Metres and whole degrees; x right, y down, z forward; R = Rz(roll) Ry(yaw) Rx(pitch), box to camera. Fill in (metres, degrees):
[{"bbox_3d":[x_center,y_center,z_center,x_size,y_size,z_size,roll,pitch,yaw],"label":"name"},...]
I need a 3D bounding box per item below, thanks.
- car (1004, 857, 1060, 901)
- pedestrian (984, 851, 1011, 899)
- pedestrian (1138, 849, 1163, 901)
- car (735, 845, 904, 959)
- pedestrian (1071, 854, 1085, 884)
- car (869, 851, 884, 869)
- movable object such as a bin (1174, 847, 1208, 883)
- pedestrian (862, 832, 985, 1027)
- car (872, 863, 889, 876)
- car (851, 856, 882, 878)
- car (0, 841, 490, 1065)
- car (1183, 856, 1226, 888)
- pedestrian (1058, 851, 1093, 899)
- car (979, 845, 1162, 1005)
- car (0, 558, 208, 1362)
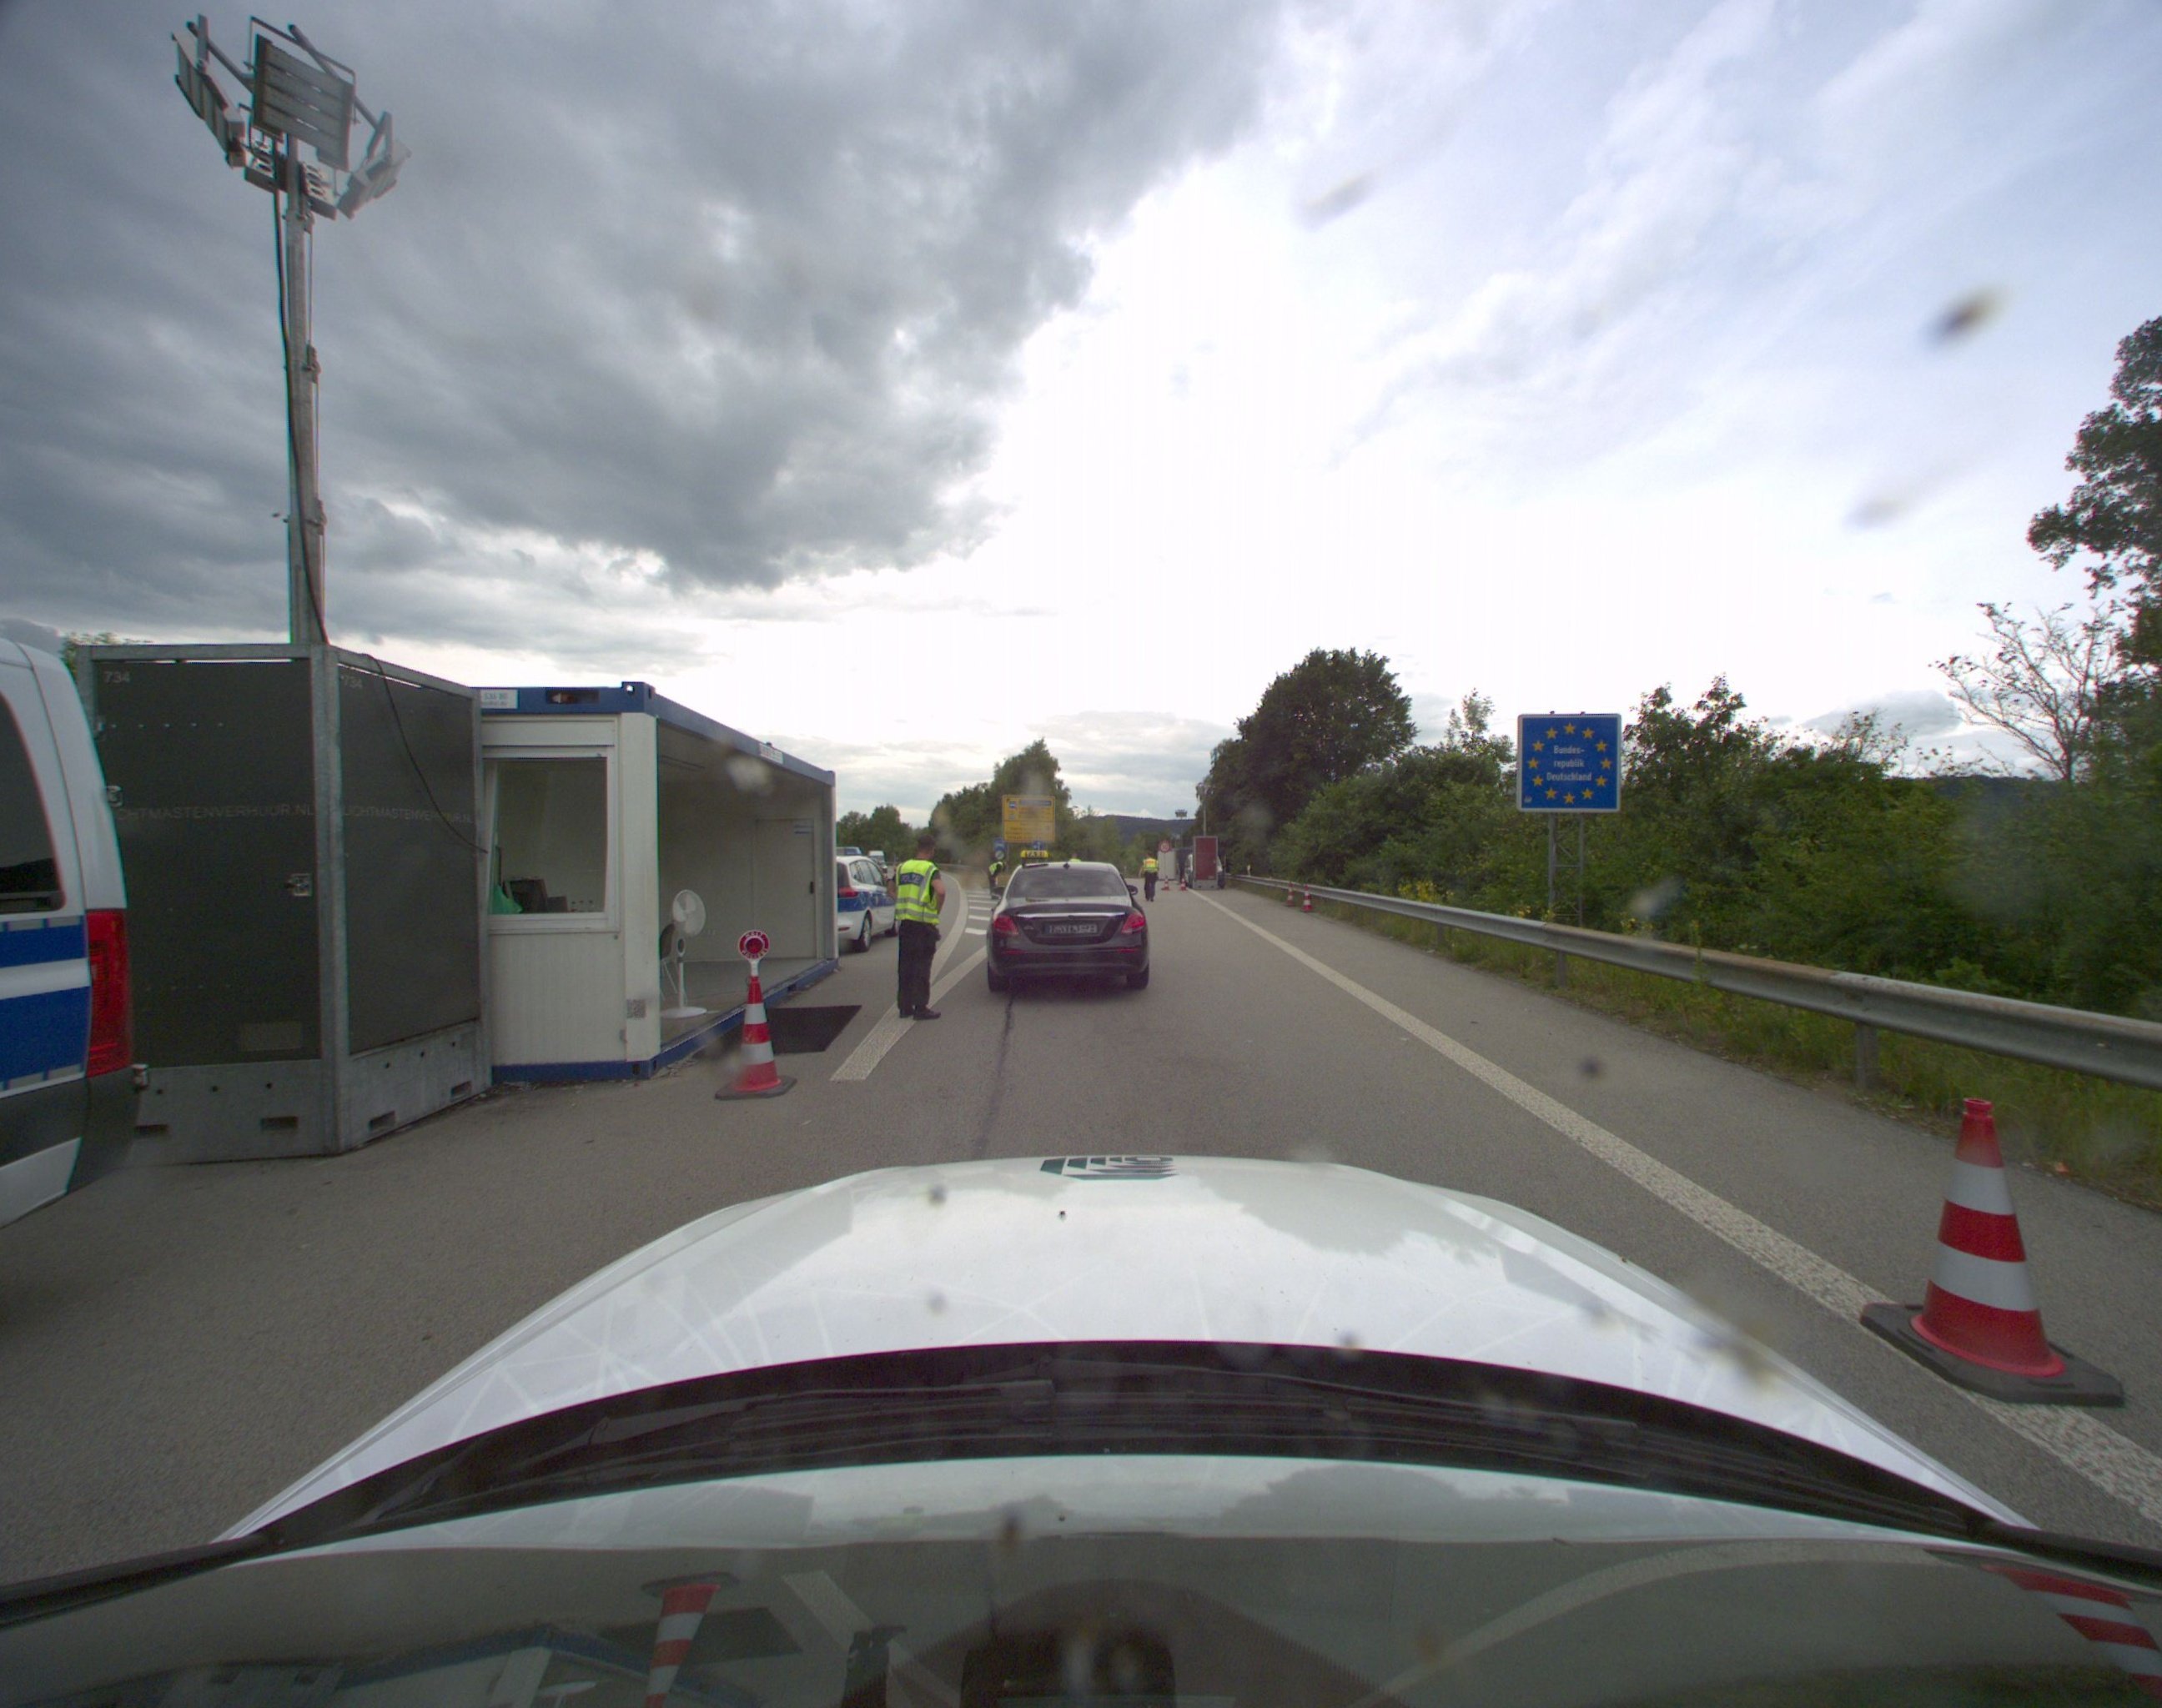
[{"bbox_3d":[-1.765,0.883,30.517,1.850,1.498,4.255,-1,0,-1],"label":"car"},{"bbox_3d":[-3.142,0.764,30.626,0.908,1.769,0.911,-1,-1,-1],"label":"pedestrian"},{"bbox_3d":[2.483,0.732,29.162,0.809,1.830,0.810,-1,-1,1],"label":"pedestrian"},{"bbox_3d":[-4.530,0.759,14.787,1.864,1.743,4.005,-1,0,-2],"label":"car"},{"bbox_3d":[-0.192,0.960,53.852,0.659,1.961,0.763,-1,-1,18],"label":"pedestrian"},{"bbox_3d":[-25.875,0.707,103.157,1.858,2.222,4.236,-1,0,-14],"label":"car"},{"bbox_3d":[7.282,0.693,54.159,1.984,2.280,4.172,-1,0,4],"label":"movable object such as a bin"},{"bbox_3d":[-1.493,0.672,7.744,0.752,1.718,0.823,-2,-1,39],"label":"pedestrian"},{"bbox_3d":[-22.781,1.776,92.626,1.854,1.463,3.982,0,-1,-13],"label":"car"},{"bbox_3d":[-15.511,0.899,59.005,1.856,1.498,4.240,-1,0,-11],"label":"car"},{"bbox_3d":[-8.452,0.790,8.397,1.864,1.743,4.005,-1,0,-2],"label":"car"},{"bbox_3d":[6.825,0.952,45.318,1.908,1.678,5.087,1,0,3],"label":"car"},{"bbox_3d":[-0.204,0.747,29.284,0.914,1.698,0.905,0,-1,-30],"label":"pedestrian"},{"bbox_3d":[-0.199,0.733,10.526,1.851,1.595,4.371,-1,0,-3],"label":"car"},{"bbox_3d":[-4.276,0.324,0.418,2.023,2.463,5.276,-1,0,-1],"label":"car"}]
